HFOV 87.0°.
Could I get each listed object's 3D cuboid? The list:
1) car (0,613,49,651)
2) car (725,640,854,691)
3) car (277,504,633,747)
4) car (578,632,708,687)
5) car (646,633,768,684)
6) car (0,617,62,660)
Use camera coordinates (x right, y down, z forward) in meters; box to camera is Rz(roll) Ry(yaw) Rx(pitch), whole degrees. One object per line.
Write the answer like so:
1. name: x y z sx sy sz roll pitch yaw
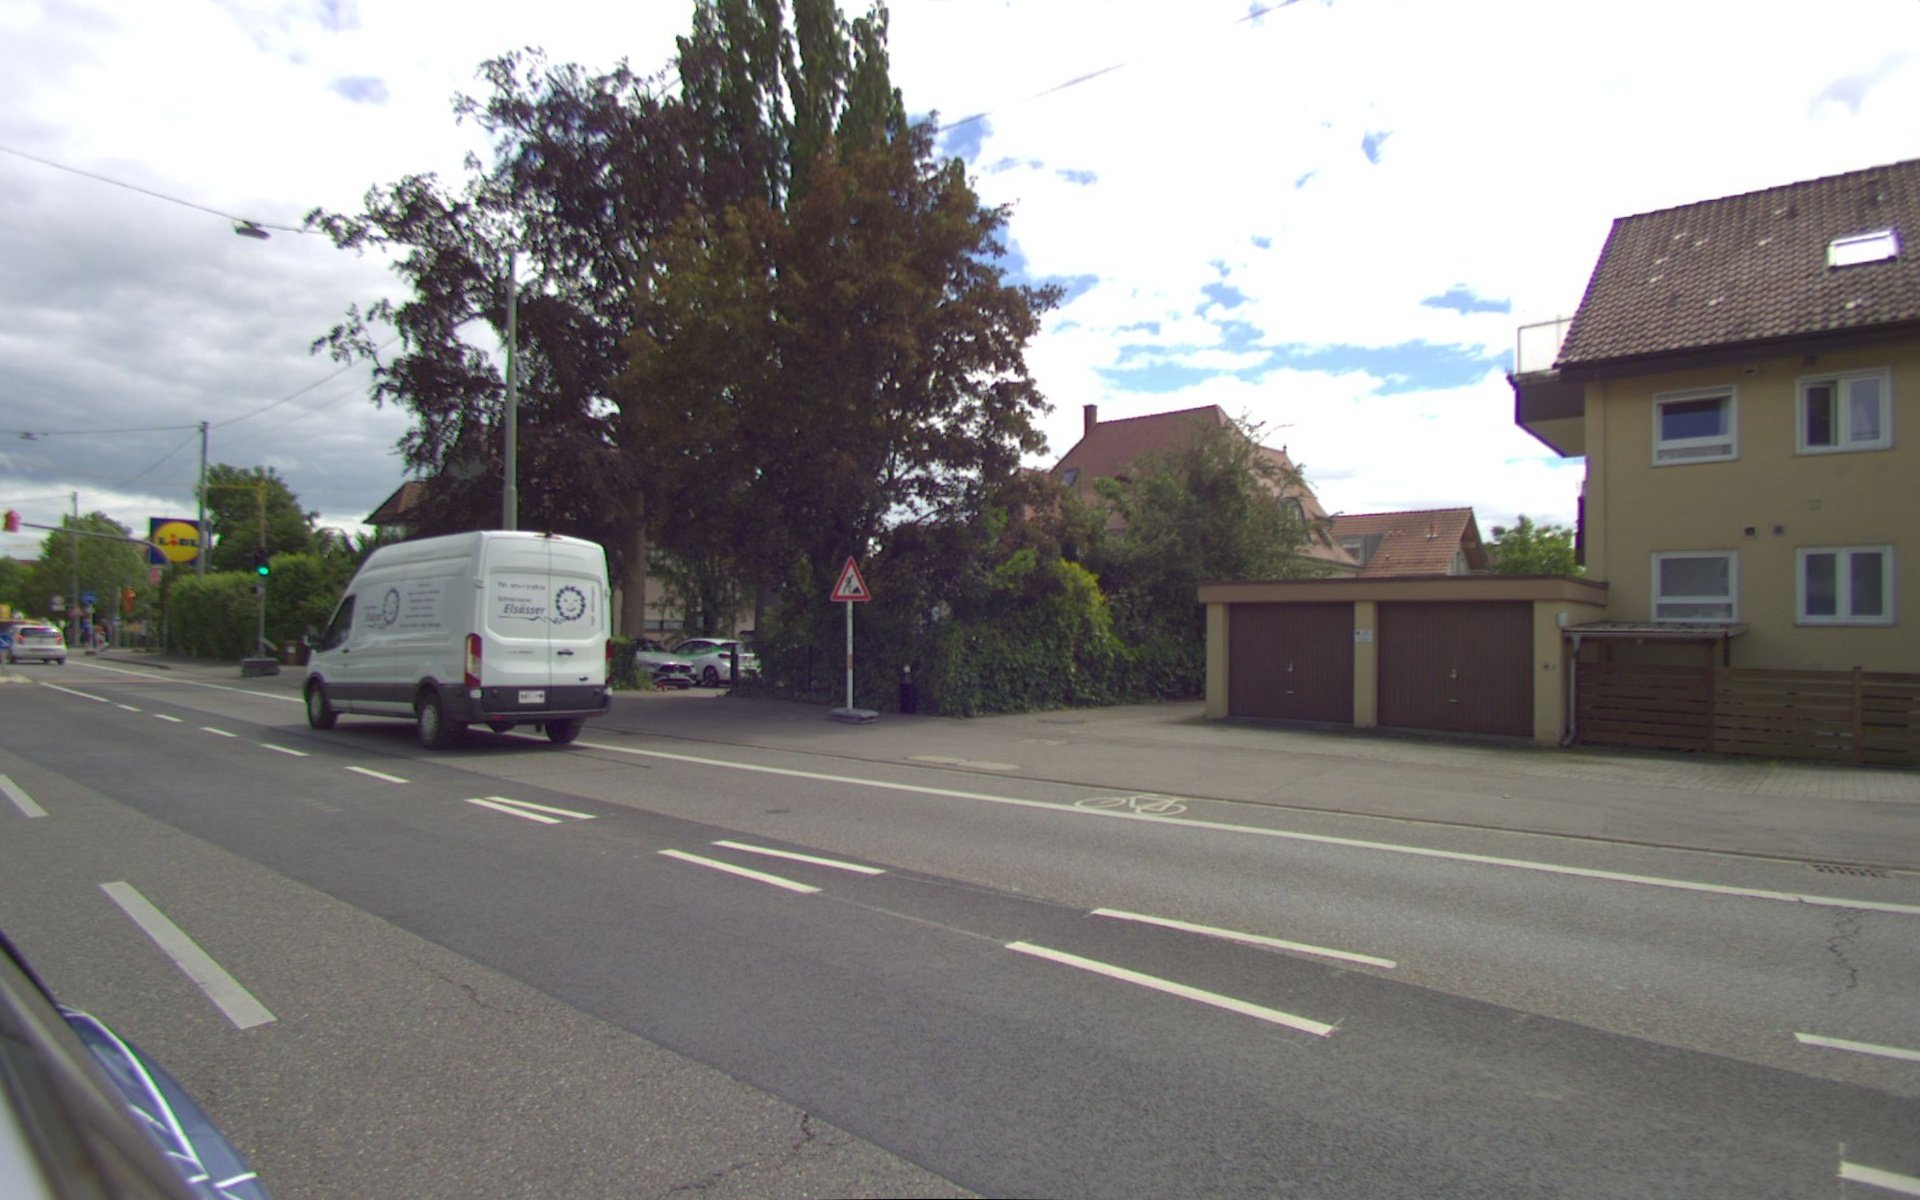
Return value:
1. car: -47.879 1.616 51.391 1.967 1.797 4.010 -1 0 -36
2. car: -5.393 2.051 31.862 3.925 1.401 1.784 0 -4 37
3. car: -7.445 0.401 14.572 6.141 2.841 2.122 -1 -4 39
4. car: -8.882 1.652 28.301 3.516 1.399 1.646 0 -4 36
5. car: -7.726 1.757 30.824 3.517 1.399 1.722 0 -3 36
6. car: -35.926 1.482 38.910 3.238 1.530 1.590 0 -4 40
